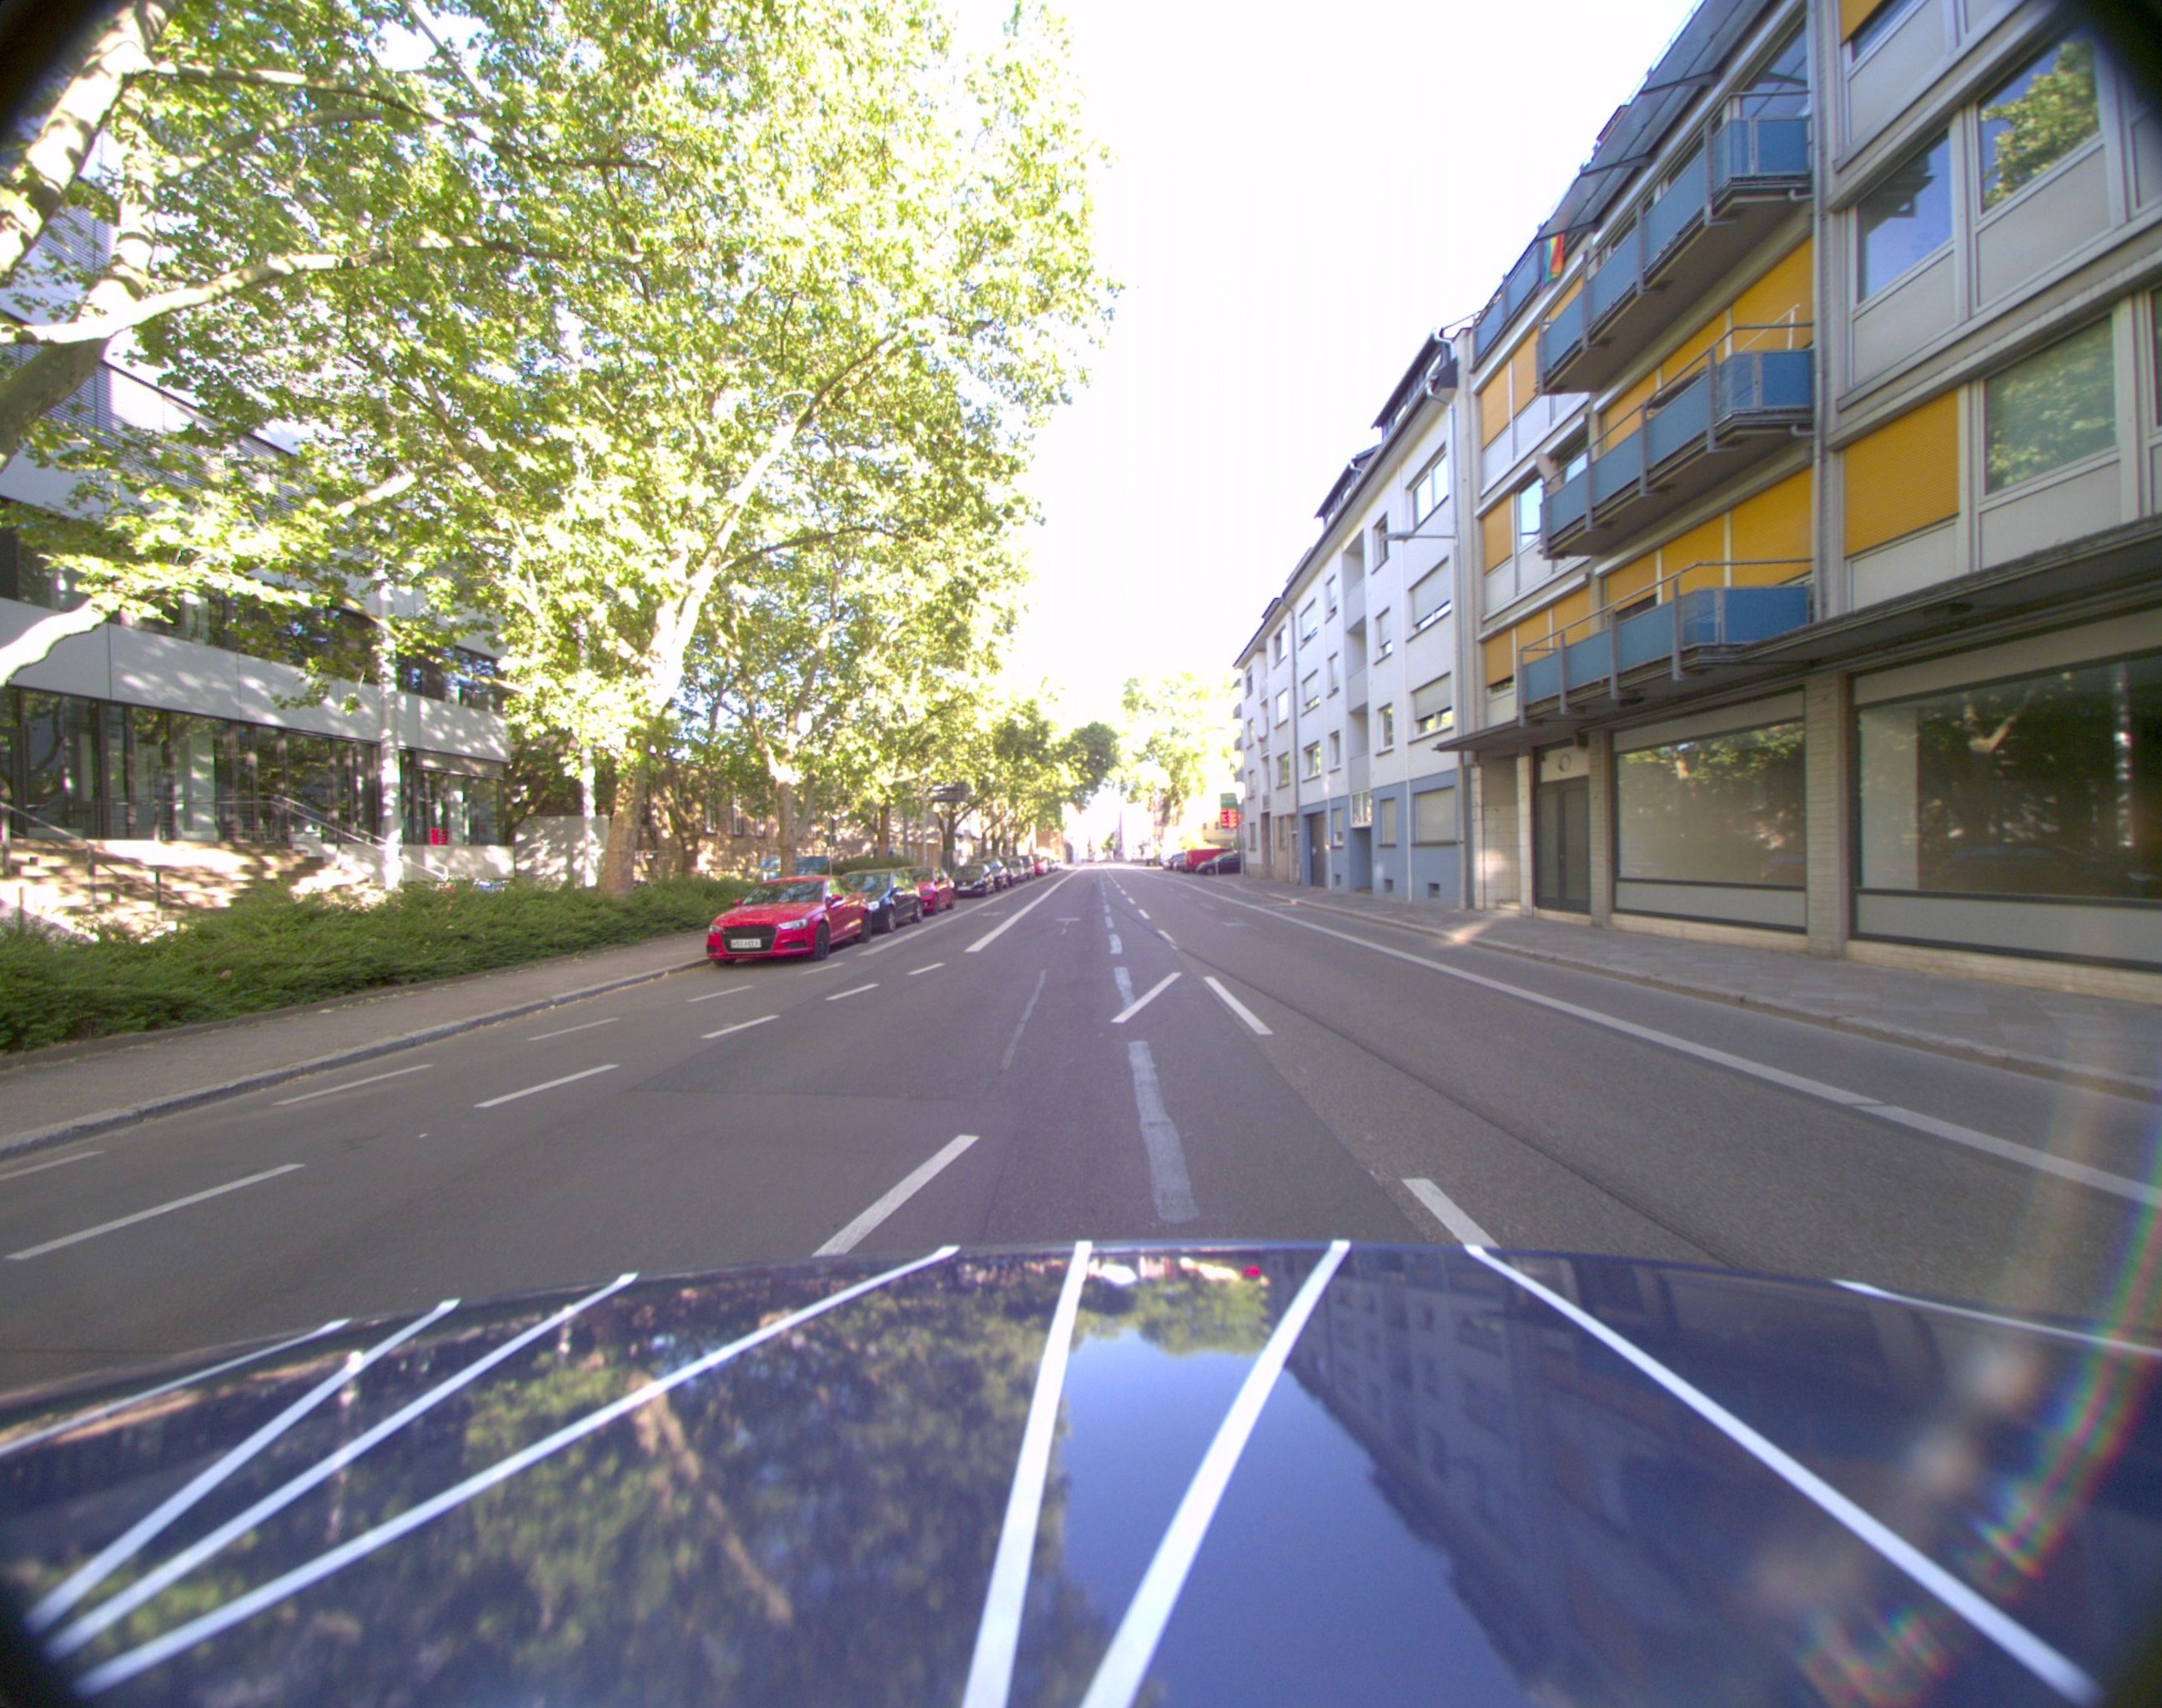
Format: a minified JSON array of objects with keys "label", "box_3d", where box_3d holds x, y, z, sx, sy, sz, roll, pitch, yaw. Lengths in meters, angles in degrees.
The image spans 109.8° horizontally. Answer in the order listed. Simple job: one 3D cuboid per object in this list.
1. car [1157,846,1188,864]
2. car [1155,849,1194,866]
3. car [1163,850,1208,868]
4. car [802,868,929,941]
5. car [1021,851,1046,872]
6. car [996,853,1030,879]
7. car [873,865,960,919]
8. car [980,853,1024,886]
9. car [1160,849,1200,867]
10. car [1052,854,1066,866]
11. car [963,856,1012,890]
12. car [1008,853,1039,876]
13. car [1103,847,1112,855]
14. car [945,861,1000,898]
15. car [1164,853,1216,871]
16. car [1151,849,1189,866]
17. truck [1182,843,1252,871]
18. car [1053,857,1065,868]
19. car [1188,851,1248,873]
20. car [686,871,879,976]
[{"label":"car","box_3d":[10.223,0.110,85.237,3.267,1.927,1.693,-2,1,2]},{"label":"car","box_3d":[9.610,0.379,78.582,3.703,1.573,1.718,-2,1,-5]},{"label":"car","box_3d":[10.080,0.485,73.378,3.998,1.618,1.702,-2,1,-5]},{"label":"car","box_3d":[-5.089,1.131,18.510,1.813,1.449,4.000,-1,0,2]},{"label":"car","box_3d":[-4.112,0.613,66.192,1.876,1.685,4.166,-1,0,1]},{"label":"car","box_3d":[-4.445,0.737,50.466,1.798,1.608,4.075,-1,0,1]},{"label":"car","box_3d":[-5.019,1.112,23.715,1.790,1.429,4.000,-1,0,1]},{"label":"car","box_3d":[-4.549,0.866,44.205,1.998,1.715,4.262,-2,1,1]},{"label":"car","box_3d":[9.874,0.383,75.923,3.658,1.578,1.659,-2,1,-5]},{"label":"car","box_3d":[-2.994,0.815,102.839,1.707,1.459,3.809,-1,0,0]},{"label":"car","box_3d":[-4.626,0.918,38.222,1.848,1.572,4.232,-1,0,1]},{"label":"car","box_3d":[-4.173,0.748,55.522,1.831,1.608,4.177,-1,0,1]},{"label":"car","box_3d":[6.754,-0.795,193.475,1.998,2.002,3.999,-2,1,1]},{"label":"car","box_3d":[-4.680,1.080,33.276,1.745,1.430,4.000,-1,0,1]},{"label":"car","box_3d":[8.975,0.666,62.819,4.033,1.265,1.906,-2,1,-1]},{"label":"car","box_3d":[9.480,0.375,80.873,3.728,1.579,1.743,-2,1,-5]},{"label":"truck","box_3d":[10.723,0.240,60.109,5.088,2.009,2.000,-2,1,0]},{"label":"car","box_3d":[-2.634,1.027,92.258,1.300,1.220,3.241,-1,0,0]},{"label":"car","box_3d":[9.858,0.543,54.841,3.997,1.385,1.781,-2,1,-1]},{"label":"car","box_3d":[-5.106,1.113,13.690,1.775,1.416,4.173,-3,0,0]}]
